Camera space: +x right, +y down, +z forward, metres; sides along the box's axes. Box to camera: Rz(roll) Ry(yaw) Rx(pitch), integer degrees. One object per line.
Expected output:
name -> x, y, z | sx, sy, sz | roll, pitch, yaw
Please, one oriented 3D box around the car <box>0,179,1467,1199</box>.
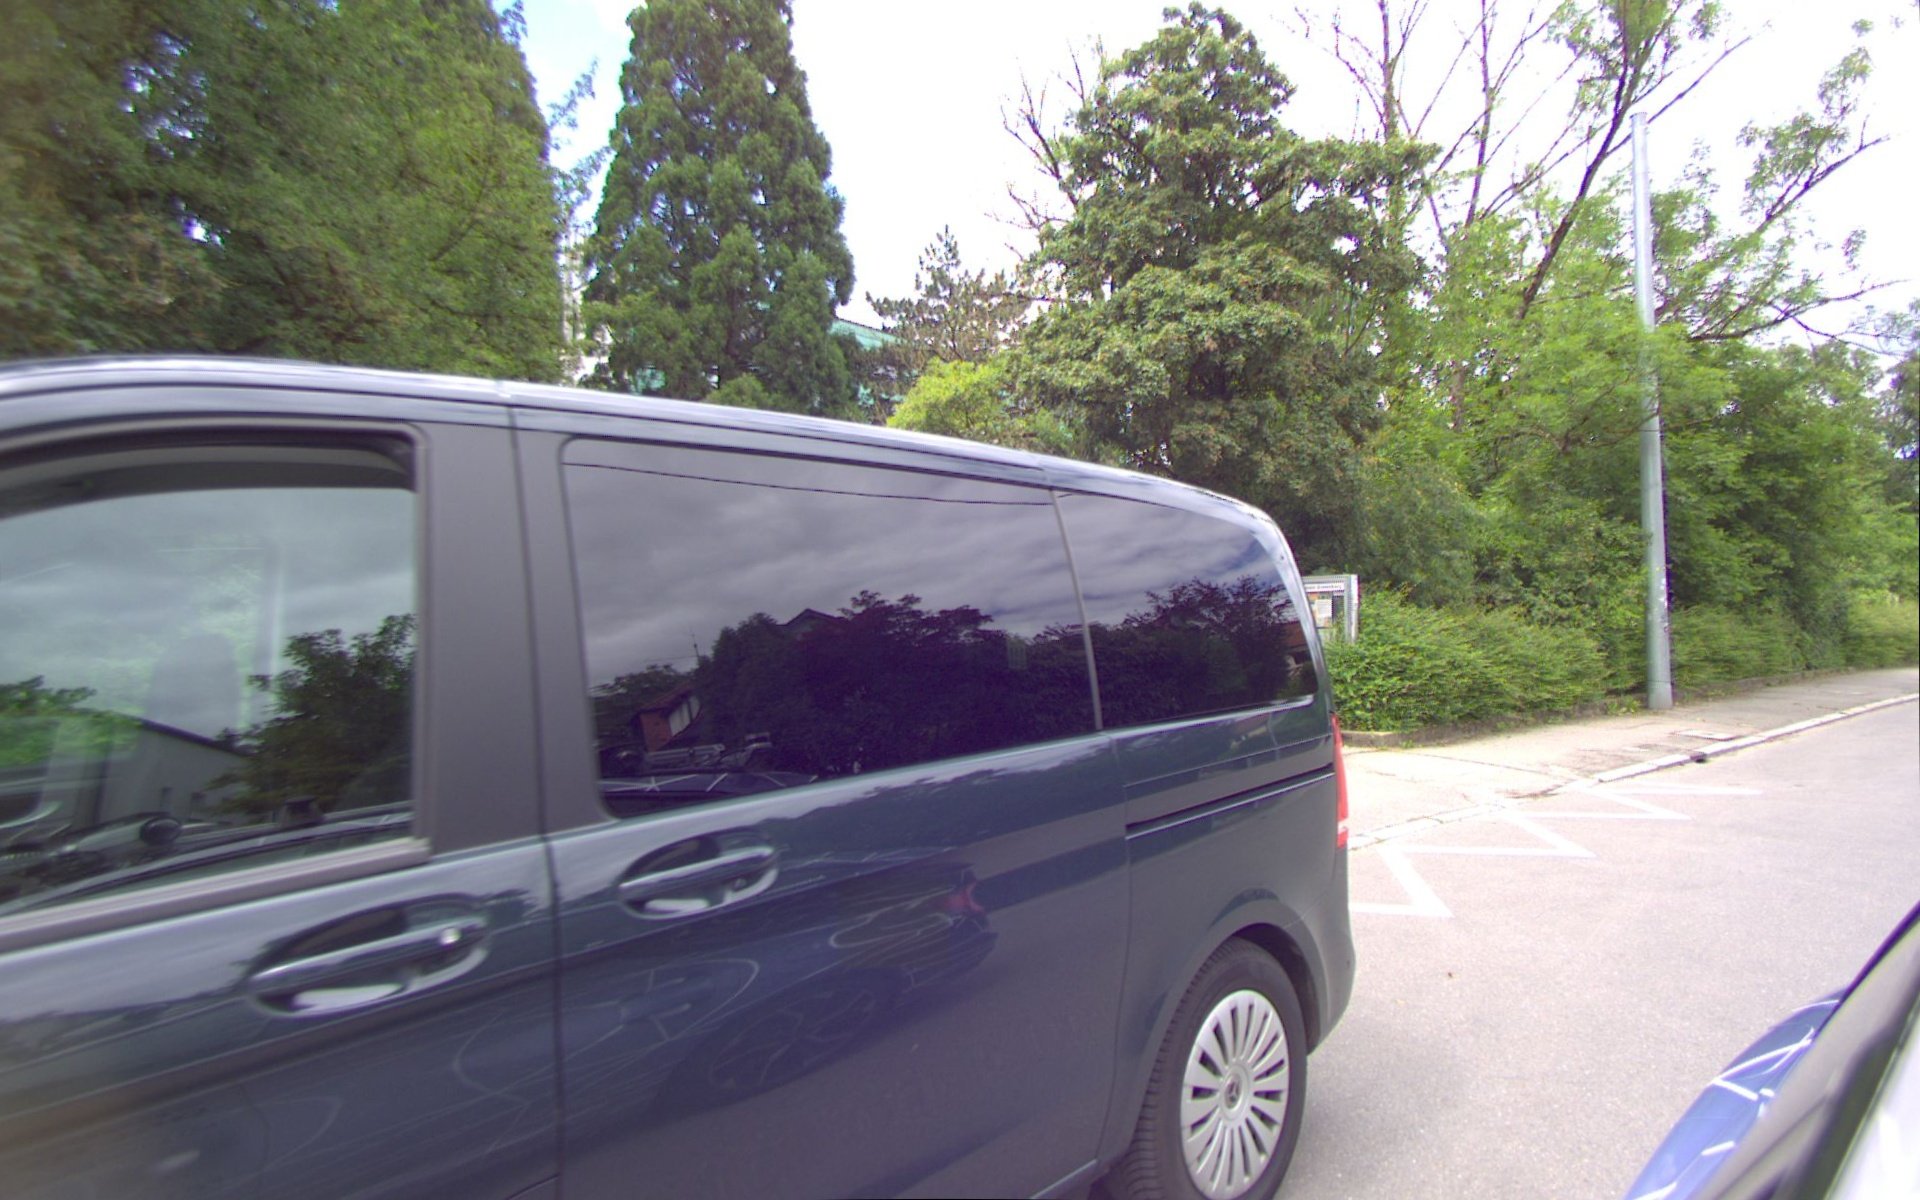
car -> -1.061, 0.566, 2.017 | 5.068, 1.872, 1.912 | 0, -1, -41
